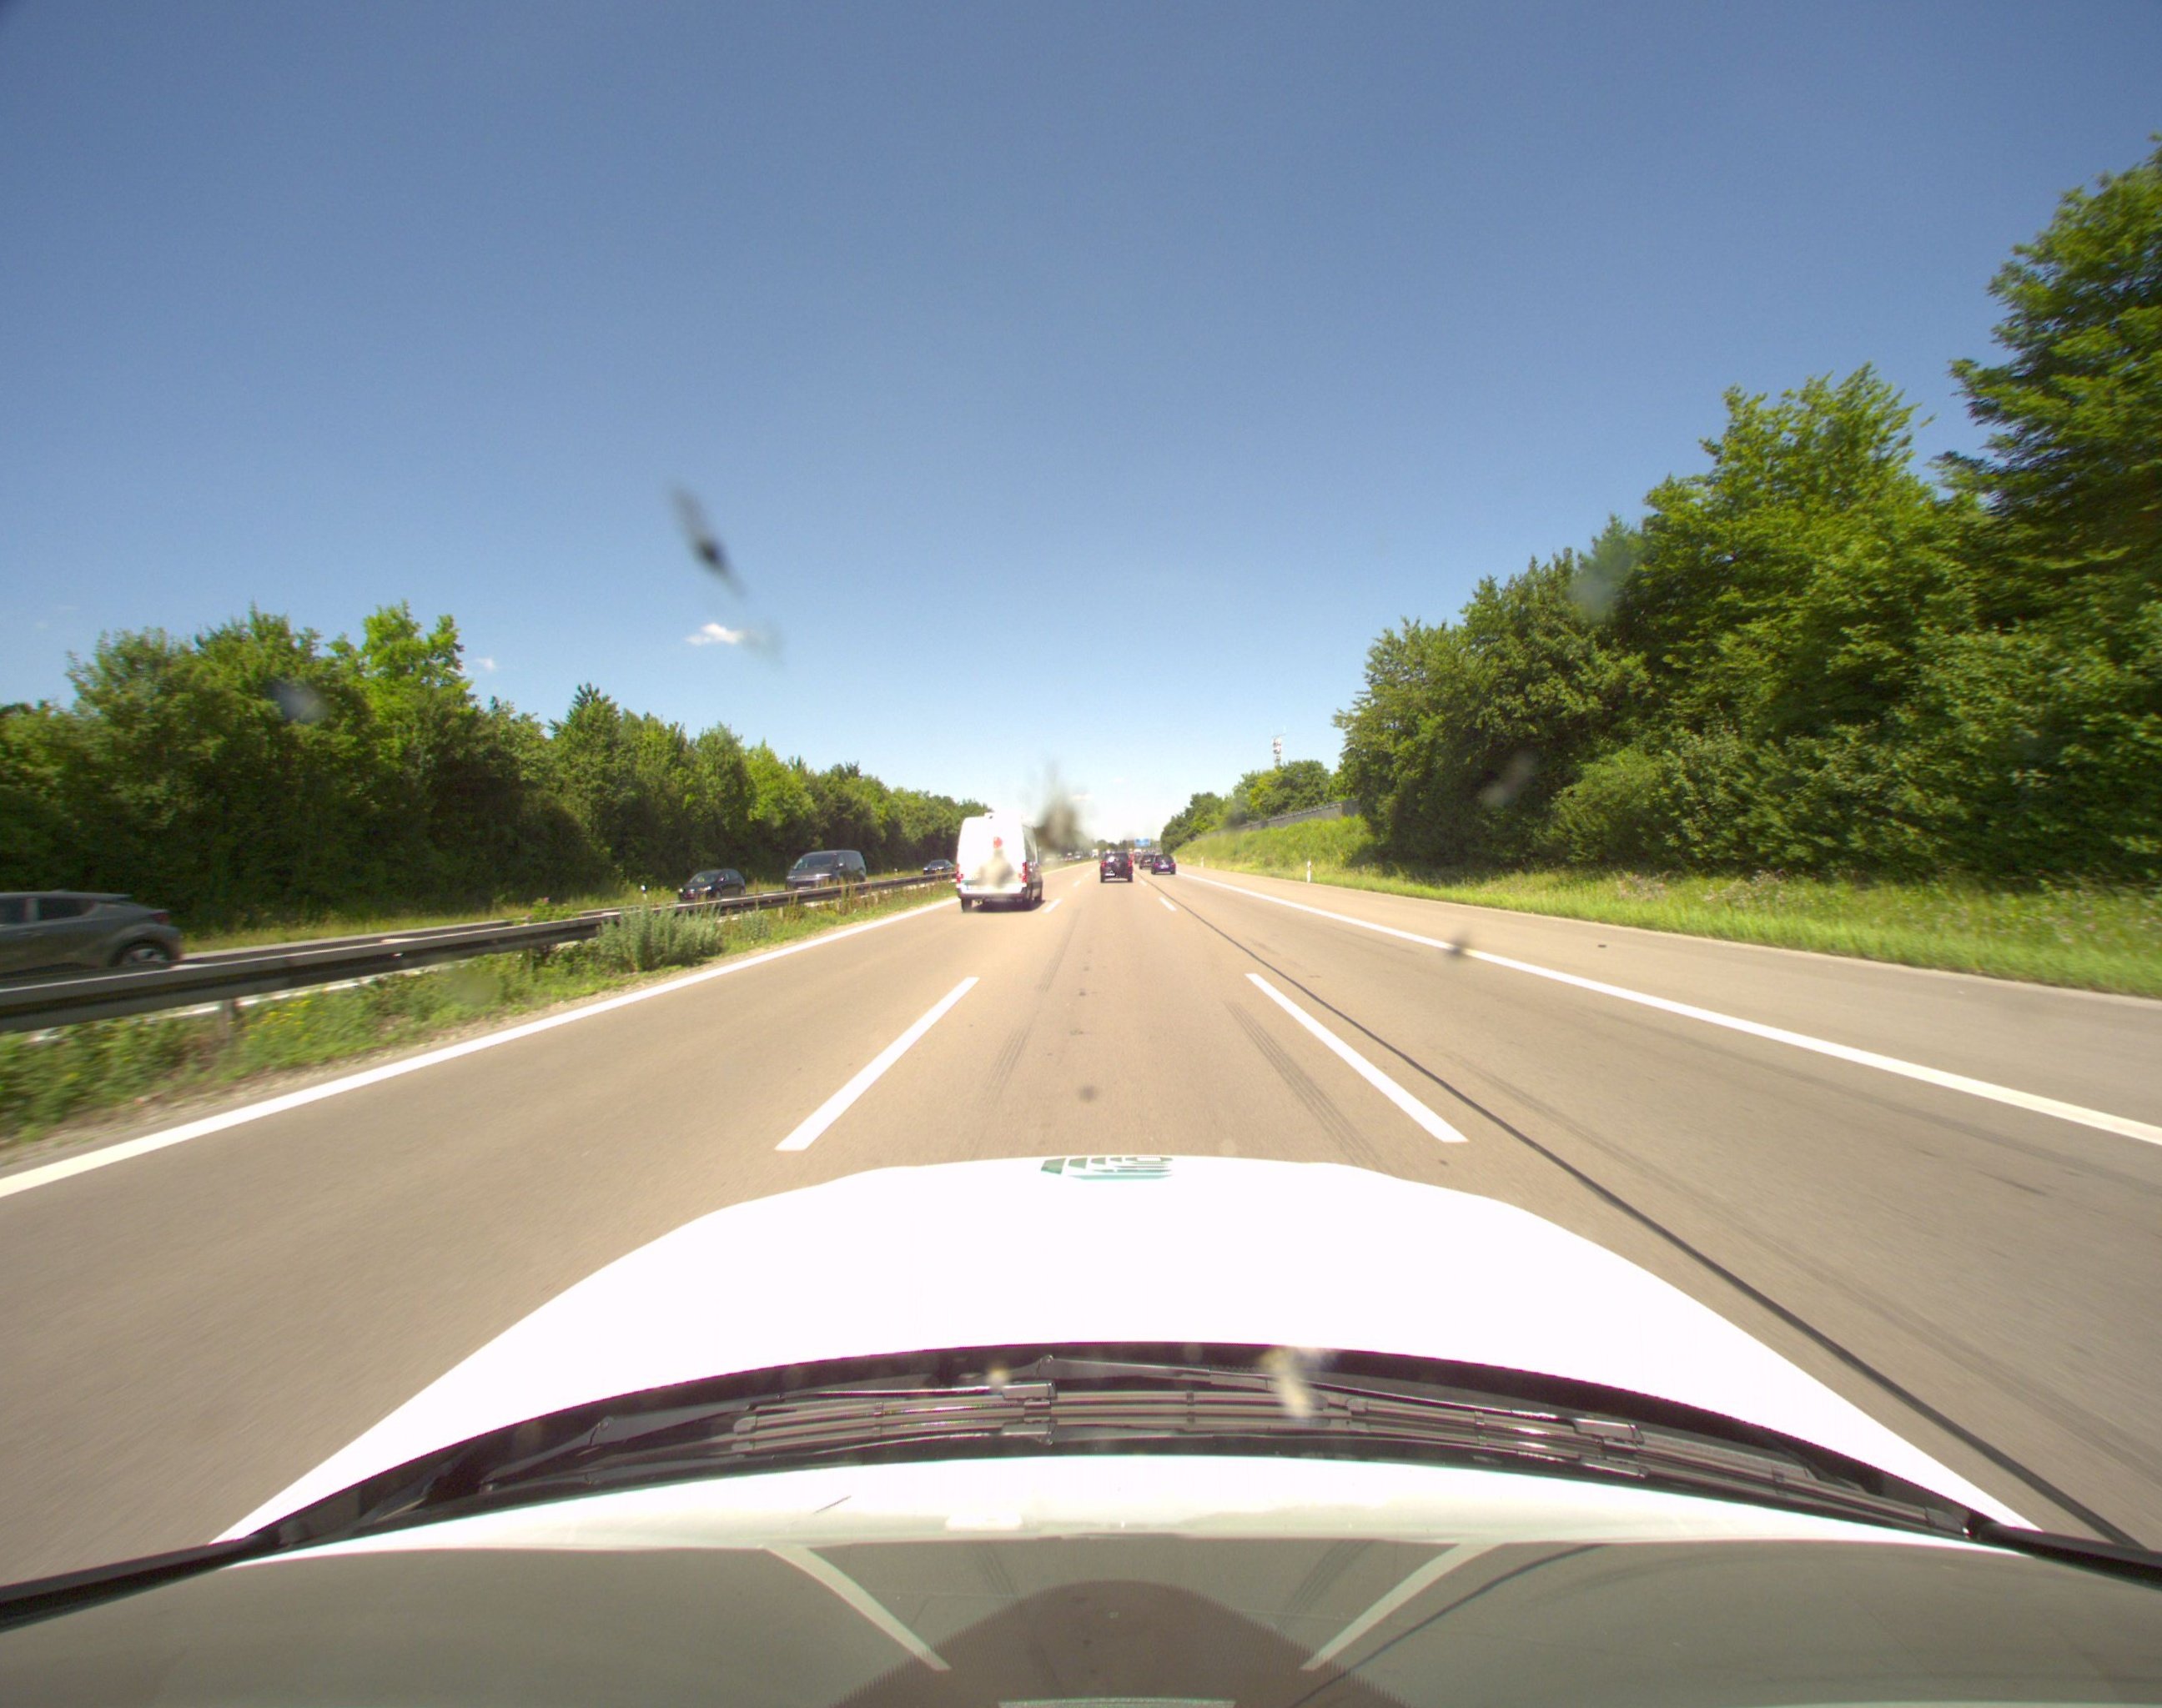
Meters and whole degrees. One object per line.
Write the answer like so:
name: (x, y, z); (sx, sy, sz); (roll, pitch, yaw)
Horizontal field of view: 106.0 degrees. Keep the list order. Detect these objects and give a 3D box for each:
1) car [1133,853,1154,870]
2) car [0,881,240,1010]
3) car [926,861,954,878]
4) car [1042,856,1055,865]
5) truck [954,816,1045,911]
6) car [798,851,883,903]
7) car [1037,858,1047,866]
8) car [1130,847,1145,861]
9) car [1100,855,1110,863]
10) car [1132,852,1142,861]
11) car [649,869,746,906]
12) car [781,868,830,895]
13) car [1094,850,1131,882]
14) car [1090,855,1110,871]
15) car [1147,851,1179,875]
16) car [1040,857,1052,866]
car: (6.272, 0.774, 82.296); (1.835, 1.611, 4.001); (-2, -1, 2)
car: (-15.005, 1.279, 11.181); (1.879, 1.589, 4.636); (-2, 0, 3)
car: (-12.691, 1.416, 73.638); (1.672, 1.470, 4.001); (-2, -1, 2)
car: (-6.520, 1.295, 163.050); (1.985, 1.746, 4.394); (-2, 0, 3)
truck: (-2.321, 0.239, 25.201); (1.986, 2.542, 6.693); (0, 0, 1)
car: (-10.237, 0.936, 35.019); (1.985, 2.013, 4.655); (-2, 0, 3)
car: (-9.379, 1.939, 195.060); (1.985, 1.746, 4.394); (-2, 0, 3)
car: (8.630, 0.058, 124.930); (1.986, 2.014, 4.001); (-2, -1, 2)
car: (6.277, 1.341, 211.904); (1.984, 2.013, 4.957); (-3, 0, 5)
car: (13.048, 0.534, 190.181); (1.987, 2.013, 4.766); (-2, 0, -1)
car: (-18.038, 1.542, 38.627); (1.985, 1.480, 4.934); (-2, 0, 3)
car: (-18.405, 1.819, 54.594); (1.703, 1.628, 4.003); (-2, -1, 3)
car: (1.760, 0.665, 45.025); (1.899, 1.665, 4.002); (-2, -1, 2)
car: (2.140, 0.982, 90.807); (1.984, 1.706, 4.341); (-3, 0, 4)
car: (6.136, 0.695, 61.380); (1.987, 1.684, 4.000); (-2, -1, 0)
car: (-7.587, 1.582, 177.766); (1.985, 1.746, 4.394); (-2, 0, 3)
